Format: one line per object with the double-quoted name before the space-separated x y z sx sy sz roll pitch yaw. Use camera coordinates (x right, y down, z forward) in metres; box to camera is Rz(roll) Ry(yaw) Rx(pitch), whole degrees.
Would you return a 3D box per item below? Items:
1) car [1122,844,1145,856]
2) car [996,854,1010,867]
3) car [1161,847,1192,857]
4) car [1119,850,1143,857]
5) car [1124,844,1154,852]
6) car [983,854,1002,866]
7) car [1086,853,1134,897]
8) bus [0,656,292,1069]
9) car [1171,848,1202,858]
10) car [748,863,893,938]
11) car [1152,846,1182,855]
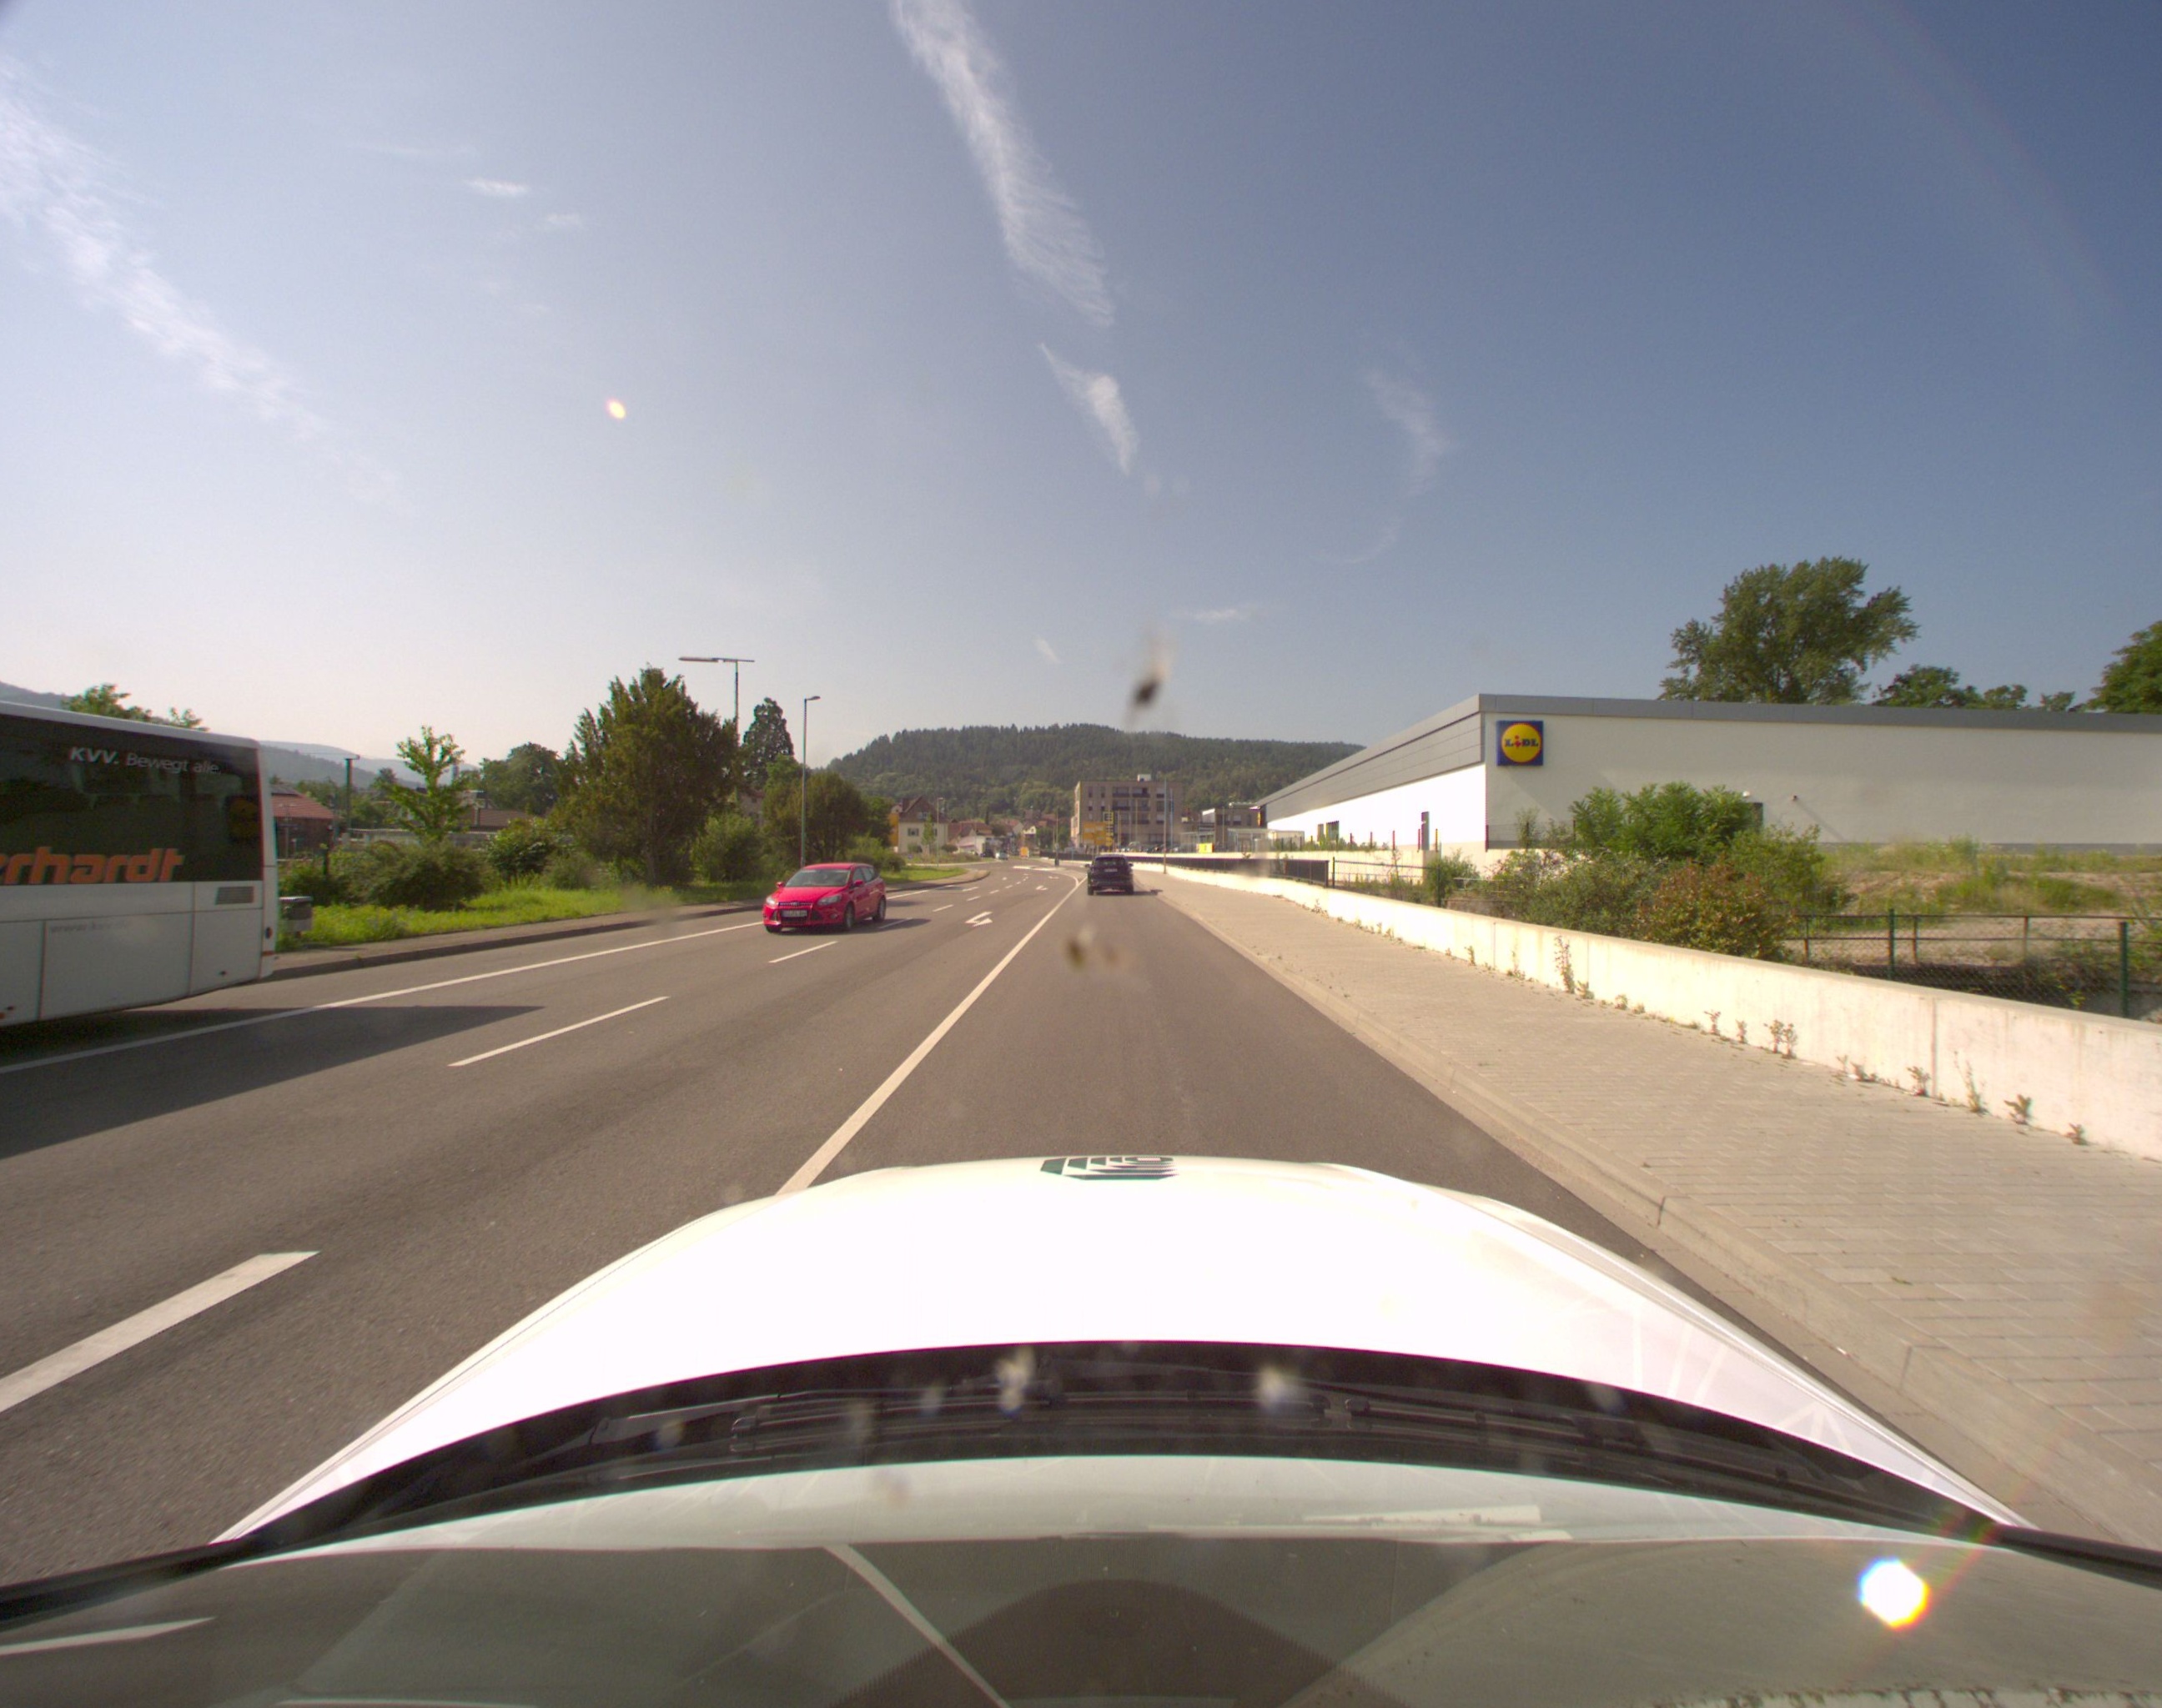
"car" 9.512 -0.727 146.817 3.969 2.136 2.002 -1 -1 4
"car" -12.472 1.113 130.354 1.990 2.014 3.994 -1 0 -4
"car" 13.239 -0.332 113.135 4.072 1.404 1.477 0 0 -18
"car" 8.010 -0.111 130.964 3.564 1.199 1.705 0 0 -17
"car" 8.888 -0.884 125.417 4.289 1.245 1.655 0 0 -18
"car" -15.368 1.052 142.161 1.979 2.014 4.015 -1 0 13
"car" 1.190 0.832 34.022 1.874 1.684 4.001 -1 0 1
"bus" -10.063 0.062 2.926 2.611 3.310 11.959 -1 0 1
"car" 14.248 -0.186 110.011 3.815 1.364 1.671 0 0 -18
"car" -5.838 0.976 18.878 1.831 1.492 4.433 -1 0 1
"car" 12.315 -0.515 116.939 4.015 1.404 1.715 0 0 -18
